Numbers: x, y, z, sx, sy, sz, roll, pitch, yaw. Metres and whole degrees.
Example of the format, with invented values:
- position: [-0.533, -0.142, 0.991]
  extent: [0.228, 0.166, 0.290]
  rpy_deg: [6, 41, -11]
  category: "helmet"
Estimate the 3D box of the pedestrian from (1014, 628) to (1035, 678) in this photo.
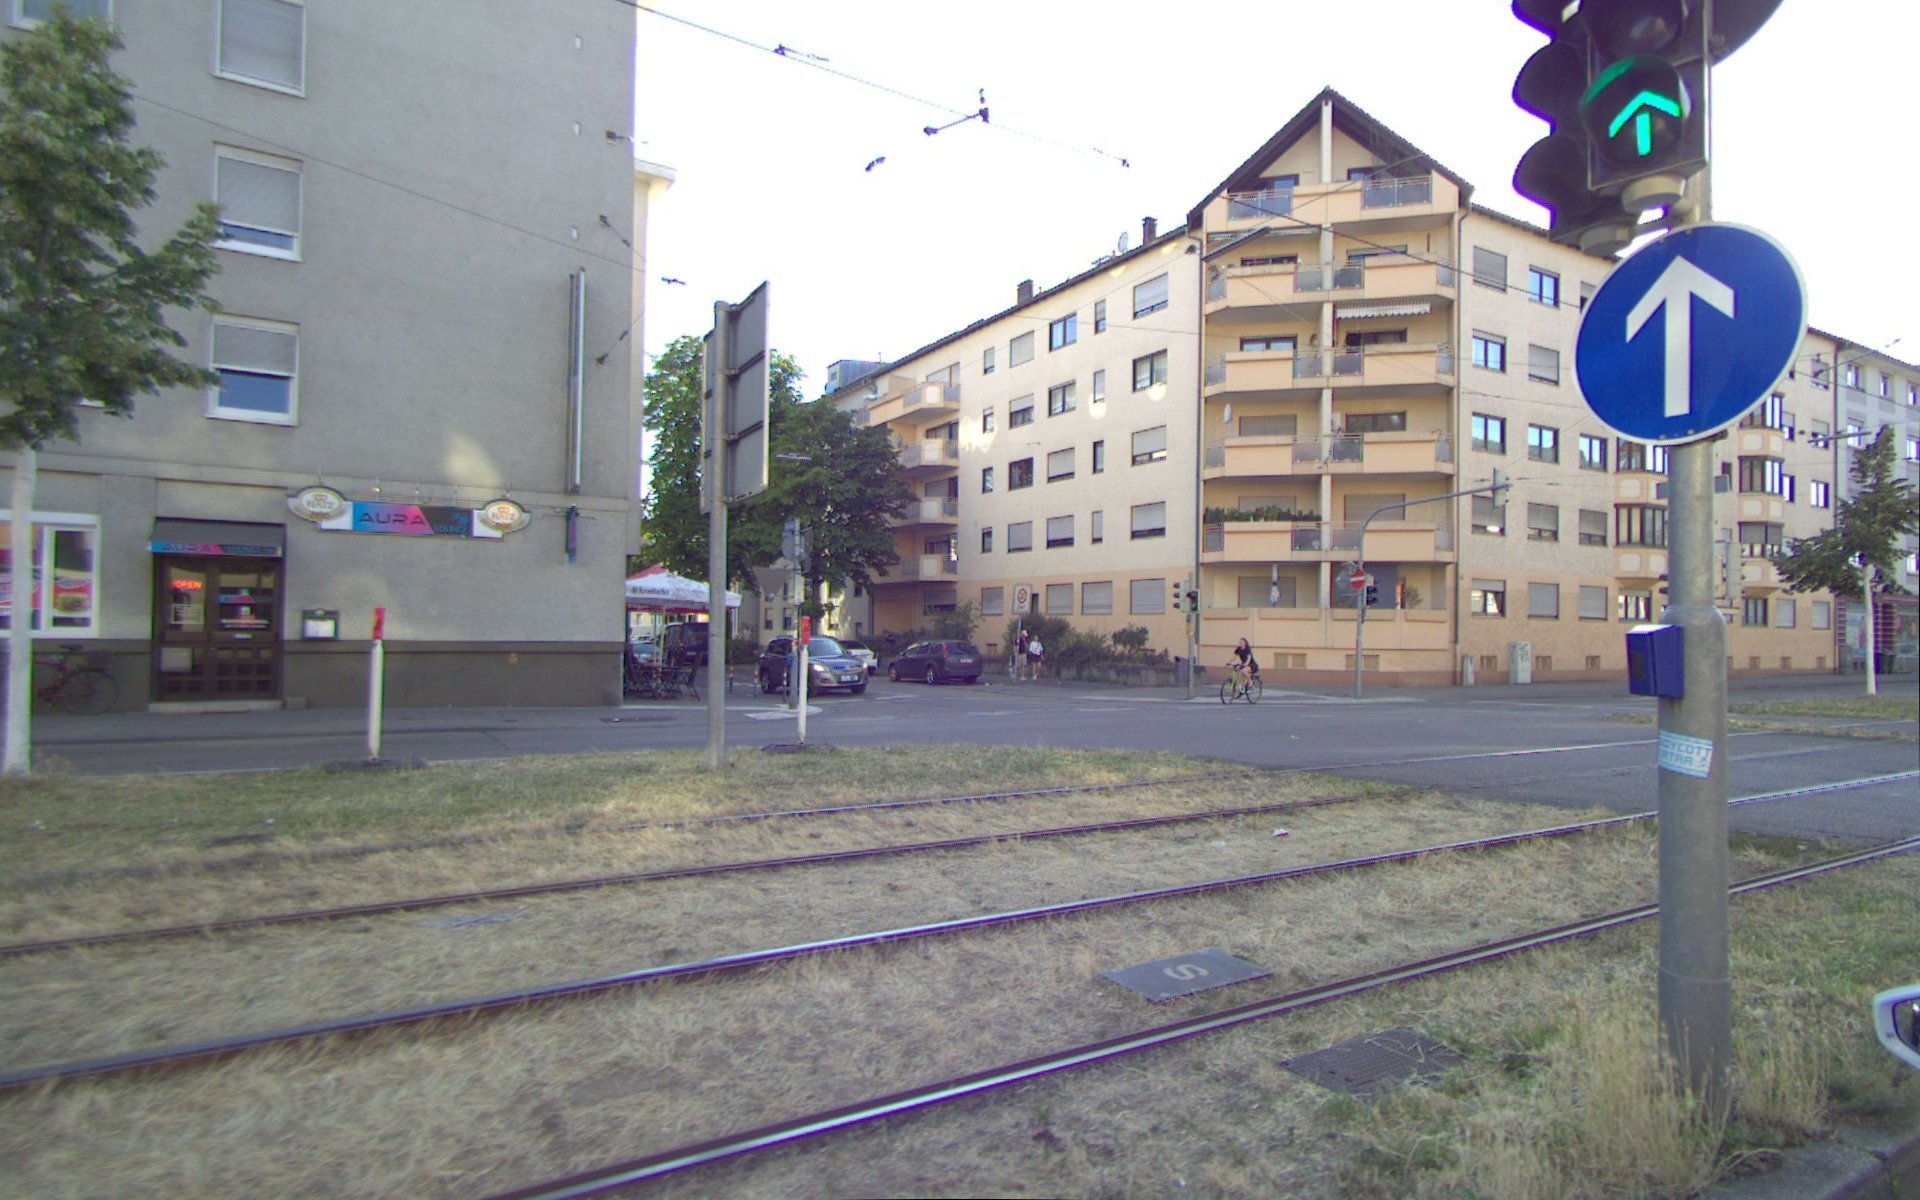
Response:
- position: [2.249, 1.851, 35.228]
  extent: [0.456, 1.727, 0.589]
  rpy_deg: [2, -1, -25]
  category: "pedestrian"

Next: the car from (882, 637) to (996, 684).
- position: [-0.784, 2.062, 34.902]
  extent: [1.983, 1.461, 3.956]
  rpy_deg: [1, -2, -38]
  category: "car"

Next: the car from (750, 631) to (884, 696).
- position: [-4.134, 1.738, 28.624]
  extent: [1.982, 1.645, 4.152]
  rpy_deg: [0, -1, -38]
  category: "car"

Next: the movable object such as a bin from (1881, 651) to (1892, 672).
- position: [45.734, 3.039, 49.578]
  extent: [0.436, 1.050, 0.297]
  rpy_deg: [2, -1, -32]
  category: "movable object such as a bin"

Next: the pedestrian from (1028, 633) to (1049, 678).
- position: [2.767, 1.953, 35.396]
  extent: [0.509, 1.573, 0.547]
  rpy_deg: [2, 0, -25]
  category: "pedestrian"

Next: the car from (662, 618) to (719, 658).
- position: [-14.854, 2.055, 55.247]
  extent: [1.978, 2.040, 3.966]
  rpy_deg: [3, -2, -31]
  category: "car"

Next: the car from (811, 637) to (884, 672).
- position: [-4.638, 2.229, 41.270]
  extent: [1.753, 1.280, 3.281]
  rpy_deg: [3, -2, -31]
  category: "car"

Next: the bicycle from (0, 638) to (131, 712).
- position: [-13.472, 1.096, 14.803]
  extent: [1.824, 1.037, 0.605]
  rpy_deg: [3, -1, -31]
  category: "bicycle"

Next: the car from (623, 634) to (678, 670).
- position: [-12.825, 2.135, 41.542]
  extent: [1.486, 1.328, 3.109]
  rpy_deg: [3, -1, -30]
  category: "car"

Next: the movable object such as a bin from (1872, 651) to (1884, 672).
- position: [45.068, 3.021, 49.298]
  extent: [0.436, 1.050, 0.297]
  rpy_deg: [2, -1, -32]
  category: "movable object such as a bin"

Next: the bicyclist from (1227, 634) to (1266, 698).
- position: [7.416, 1.689, 25.983]
  extent: [0.802, 1.607, 0.621]
  rpy_deg: [1, -1, -38]
  category: "bicyclist"

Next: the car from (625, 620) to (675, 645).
- position: [-24.194, 2.503, 78.288]
  extent: [3.443, 1.819, 1.691]
  rpy_deg: [3, -1, -27]
  category: "car"

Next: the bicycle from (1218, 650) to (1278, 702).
- position: [7.469, 1.954, 25.997]
  extent: [1.852, 1.274, 0.452]
  rpy_deg: [1, -1, -36]
  category: "bicycle"
